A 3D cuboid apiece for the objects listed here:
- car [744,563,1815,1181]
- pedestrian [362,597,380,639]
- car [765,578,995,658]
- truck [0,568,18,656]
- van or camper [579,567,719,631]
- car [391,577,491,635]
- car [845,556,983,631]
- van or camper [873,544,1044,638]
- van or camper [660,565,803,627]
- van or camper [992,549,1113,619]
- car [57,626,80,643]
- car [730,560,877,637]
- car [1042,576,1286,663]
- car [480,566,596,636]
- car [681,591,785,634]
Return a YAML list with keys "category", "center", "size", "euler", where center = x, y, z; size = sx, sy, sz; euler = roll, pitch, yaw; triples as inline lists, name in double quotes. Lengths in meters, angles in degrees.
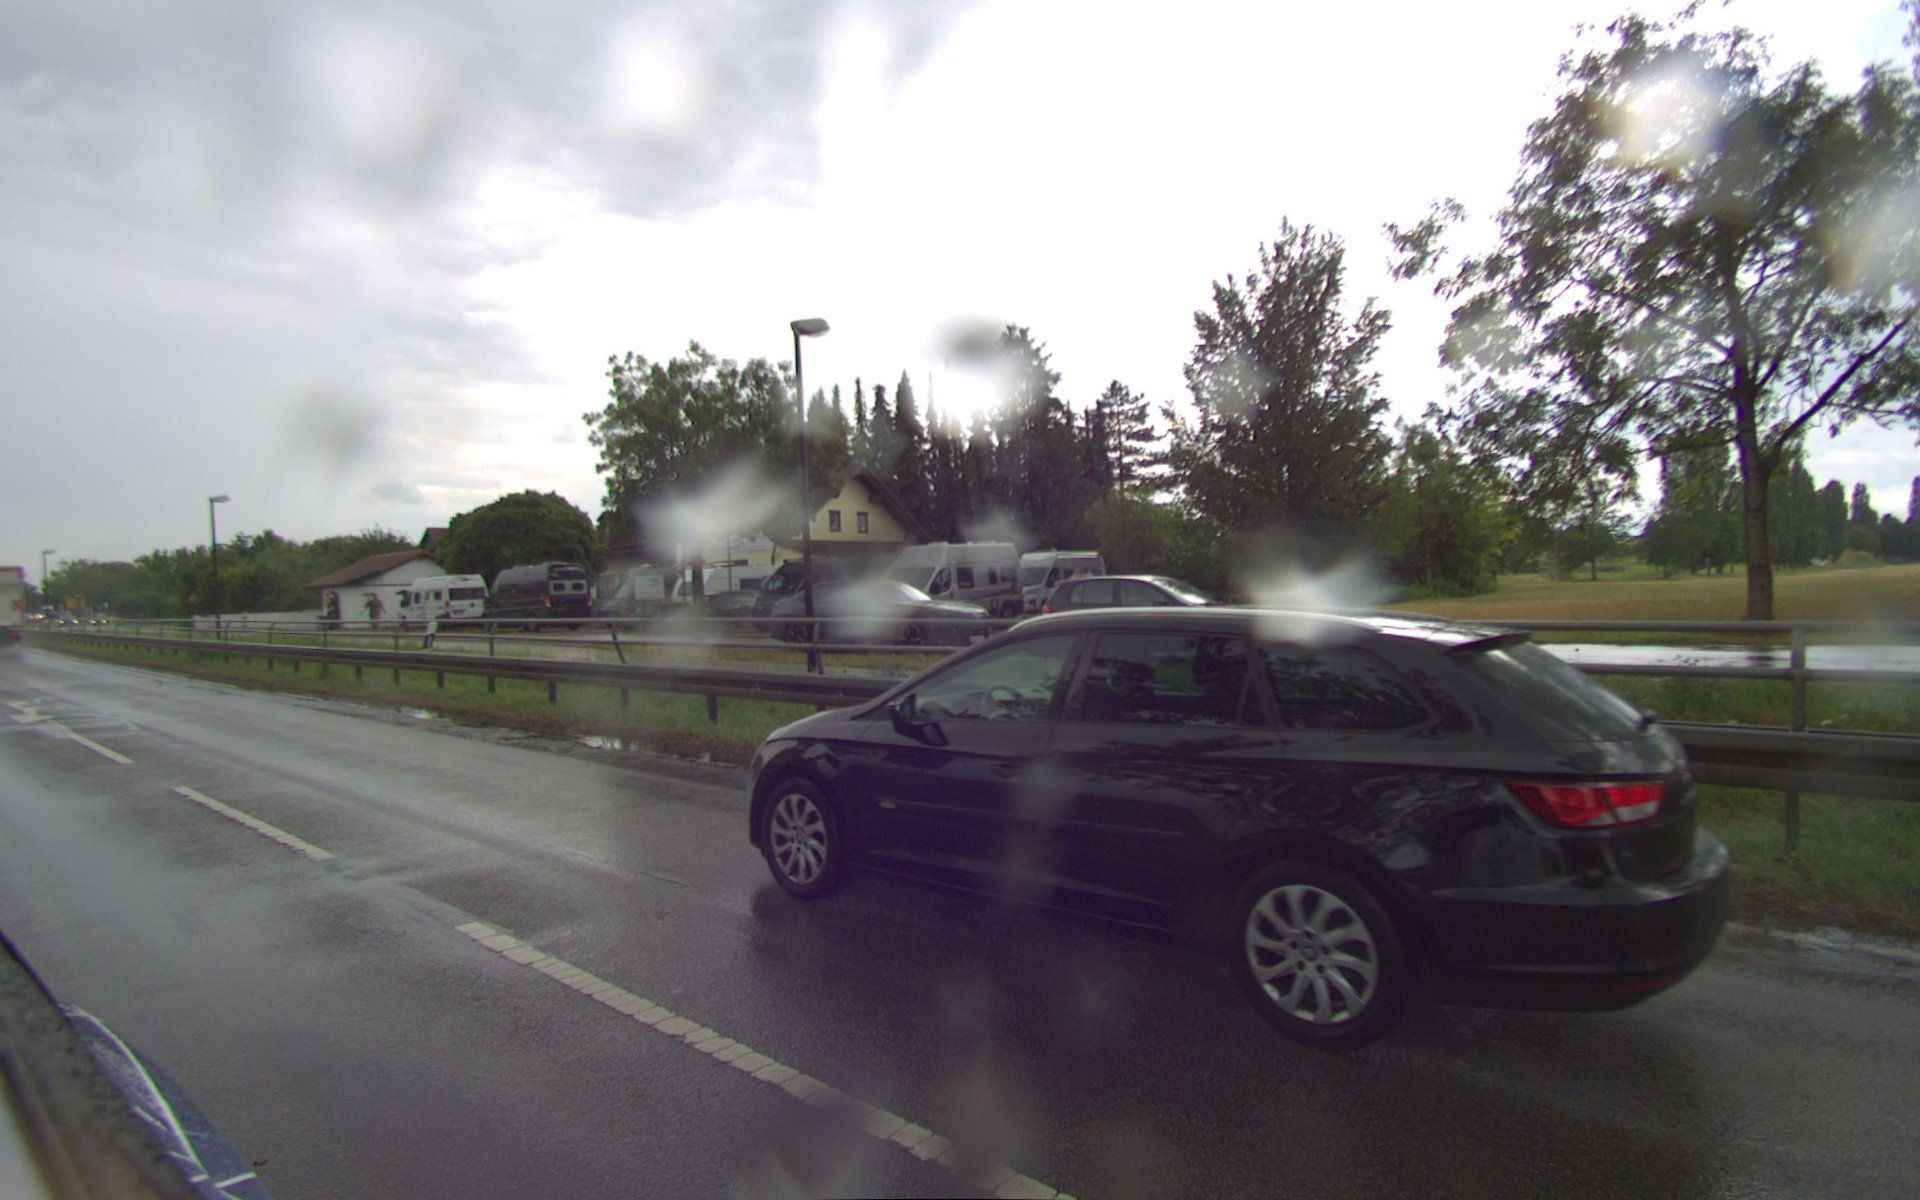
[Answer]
- category: "car"
  center: [1.010, 0.676, 4.405]
  size: [4.109, 1.462, 1.696]
  euler: [-1, -1, 41]
- category: "pedestrian"
  center: [-24.954, 0.752, 42.890]
  size: [0.509, 1.723, 0.651]
  euler: [-2, 1, -40]
- category: "car"
  center: [-1.791, 0.389, 21.194]
  size: [5.114, 1.502, 1.501]
  euler: [-2, -1, 38]
- category: "truck"
  center: [-42.263, 0.564, 43.056]
  size: [9.556, 3.478, 2.548]
  euler: [-2, -1, 43]
- category: "van or camper"
  center: [-14.760, -0.083, 48.393]
  size: [2.432, 2.822, 5.993]
  euler: [-2, 1, 40]
- category: "car"
  center: [-25.244, 0.322, 49.090]
  size: [6.017, 2.600, 2.214]
  euler: [-1, 1, 42]
- category: "car"
  center: [-1.543, -0.270, 35.931]
  size: [1.998, 2.477, 5.043]
  euler: [-2, 1, 38]
- category: "van or camper"
  center: [0.086, -0.333, 31.931]
  size: [2.079, 2.697, 5.816]
  euler: [-2, 1, 40]
- category: "van or camper"
  center: [-10.501, -0.223, 46.977]
  size: [2.560, 2.611, 6.161]
  euler: [-2, 1, 40]
- category: "van or camper"
  center: [3.807, -0.690, 40.739]
  size: [1.997, 2.609, 5.749]
  euler: [-2, 1, 38]
- category: "car"
  center: [-111.922, 4.360, 127.021]
  size: [3.998, 2.029, 1.662]
  euler: [-1, 0, 41]
- category: "car"
  center: [-5.478, -0.099, 36.017]
  size: [1.998, 2.520, 5.133]
  euler: [-2, 1, 38]
- category: "car"
  center: [3.390, 0.340, 17.226]
  size: [3.892, 1.341, 1.271]
  euler: [-2, -1, 37]
- category: "car"
  center: [-18.104, 0.058, 43.296]
  size: [5.571, 2.783, 2.358]
  euler: [-1, 1, 42]
- category: "car"
  center: [-9.014, 0.468, 40.337]
  size: [1.539, 1.507, 3.844]
  euler: [-1, 1, 41]
